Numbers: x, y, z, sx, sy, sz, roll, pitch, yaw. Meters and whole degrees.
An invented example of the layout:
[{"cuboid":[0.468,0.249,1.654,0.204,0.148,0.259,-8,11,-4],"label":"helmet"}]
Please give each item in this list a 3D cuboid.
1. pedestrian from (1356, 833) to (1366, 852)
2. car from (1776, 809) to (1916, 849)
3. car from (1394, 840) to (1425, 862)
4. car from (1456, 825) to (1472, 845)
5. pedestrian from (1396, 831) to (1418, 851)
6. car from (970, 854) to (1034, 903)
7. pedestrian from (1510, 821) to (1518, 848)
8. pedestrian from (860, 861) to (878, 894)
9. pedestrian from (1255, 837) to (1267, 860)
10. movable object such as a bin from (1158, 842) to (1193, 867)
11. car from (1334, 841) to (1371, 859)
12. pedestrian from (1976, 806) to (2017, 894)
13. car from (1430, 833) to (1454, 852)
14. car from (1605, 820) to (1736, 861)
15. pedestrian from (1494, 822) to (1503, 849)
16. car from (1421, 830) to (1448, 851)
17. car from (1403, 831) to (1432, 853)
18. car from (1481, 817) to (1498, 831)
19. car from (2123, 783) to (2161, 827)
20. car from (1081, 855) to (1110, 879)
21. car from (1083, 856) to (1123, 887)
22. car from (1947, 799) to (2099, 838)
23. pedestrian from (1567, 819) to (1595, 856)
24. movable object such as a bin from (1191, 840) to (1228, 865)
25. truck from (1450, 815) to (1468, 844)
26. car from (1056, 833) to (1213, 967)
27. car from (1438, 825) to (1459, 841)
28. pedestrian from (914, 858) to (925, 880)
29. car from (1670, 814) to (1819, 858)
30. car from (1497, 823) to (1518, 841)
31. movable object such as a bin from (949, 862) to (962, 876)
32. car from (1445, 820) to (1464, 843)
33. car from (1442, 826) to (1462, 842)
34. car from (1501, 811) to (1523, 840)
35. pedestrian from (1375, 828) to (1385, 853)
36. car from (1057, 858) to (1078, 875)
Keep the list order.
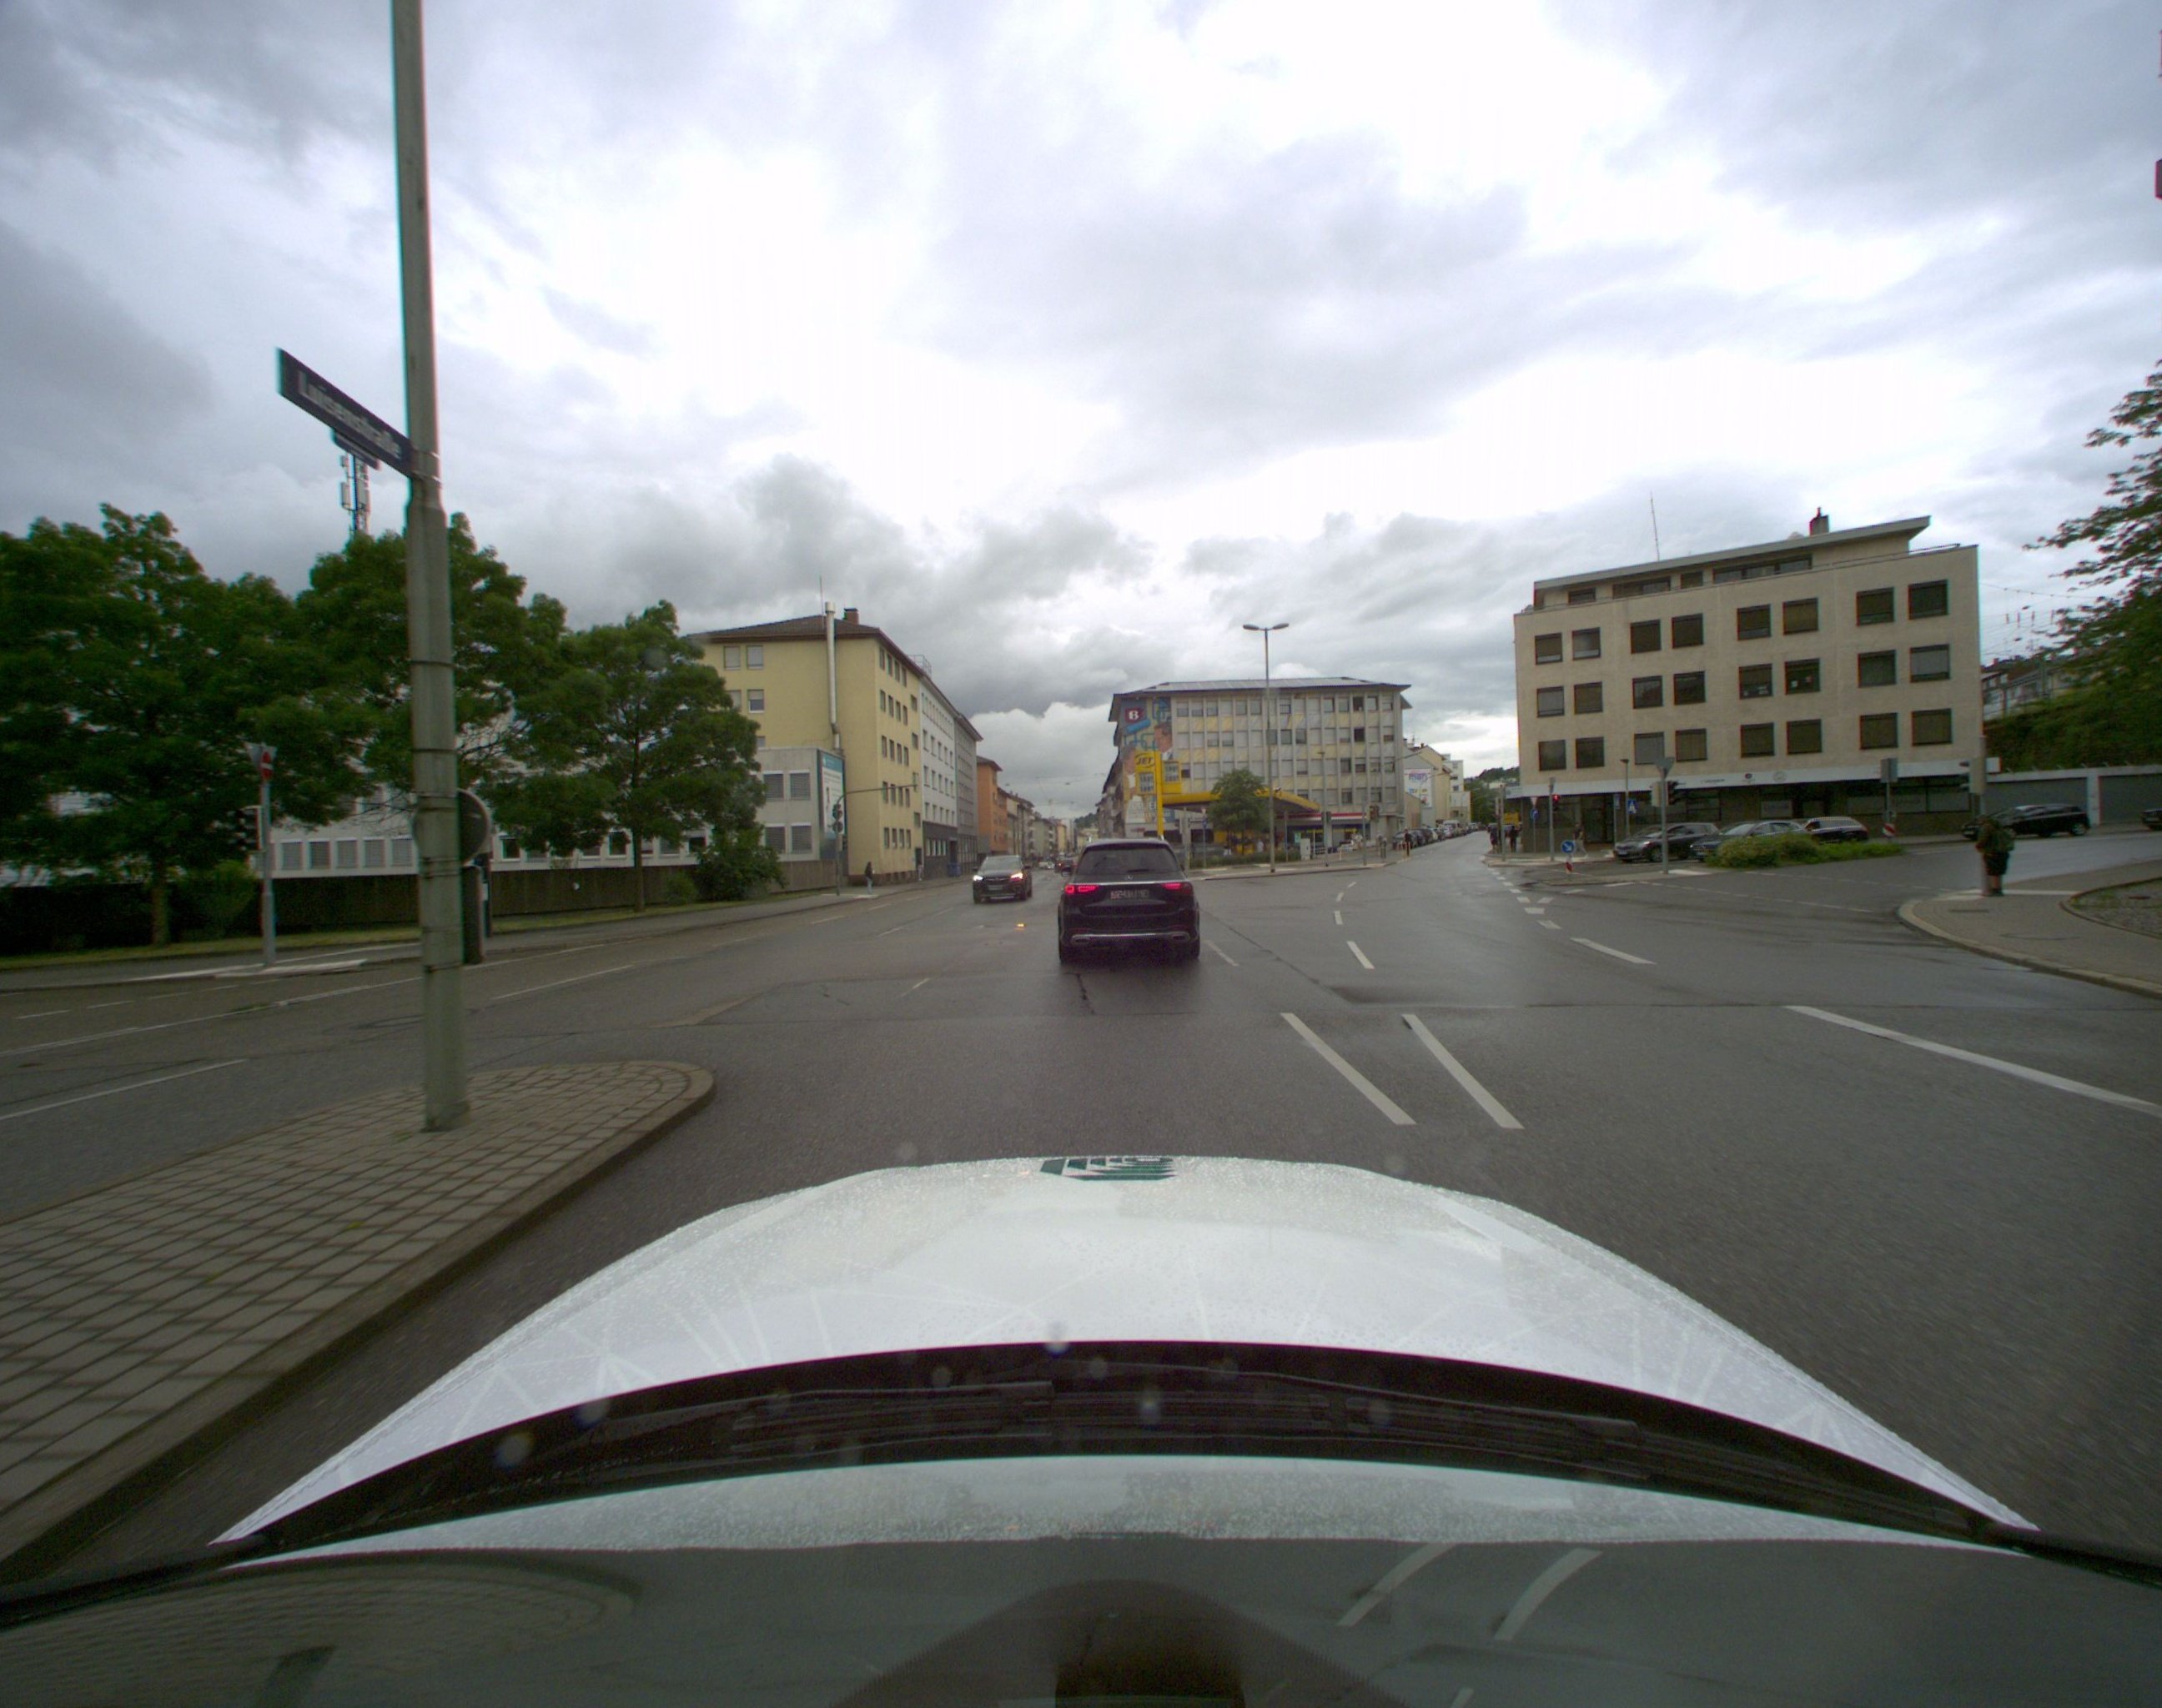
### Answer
[{"cuboid":[22.009,-0.893,64.031,0.578,1.515,0.474,0,-1,-41],"label":"pedestrian"},{"cuboid":[33.876,-1.104,36.138,4.462,1.444,1.997,-4,0,-5],"label":"car"},{"cuboid":[28.103,-0.230,69.589,1.975,1.865,4.608,-1,-1,28],"label":"car"},{"cuboid":[59.592,-2.916,126.599,1.975,3.017,4.608,-1,-1,28],"label":"car"},{"cuboid":[22.400,-0.878,56.012,0.922,1.353,1.100,0,-1,-41],"label":"pedestrian"},{"cuboid":[-2.771,0.838,29.484,1.802,1.594,4.295,-2,0,1],"label":"car"},{"cuboid":[28.112,-1.267,52.873,0.473,1.742,0.578,-1,-1,30],"label":"pedestrian"},{"cuboid":[-11.090,1.224,42.548,0.714,1.689,0.811,0,-1,1],"label":"pedestrian"},{"cuboid":[12.765,-0.380,57.875,0.662,1.585,0.847,0,-1,2],"label":"pedestrian"},{"cuboid":[6.393,0.042,55.408,2.148,1.574,1.773,-3,-1,0],"label":"movable object such as a bin"},{"cuboid":[26.189,-0.361,78.418,1.974,1.516,4.446,-4,-3,36],"label":"car"},{"cuboid":[20.368,-0.092,18.118,0.548,1.890,0.501,-5,1,-41],"label":"pedestrian"},{"cuboid":[38.001,-1.197,85.655,1.975,1.865,4.608,-1,-1,28],"label":"car"},{"cuboid":[25.339,-0.554,35.085,4.470,1.444,1.994,-4,0,-10],"label":"car"},{"cuboid":[27.303,-1.211,53.257,0.473,1.742,0.578,-1,-1,30],"label":"pedestrian"},{"cuboid":[34.592,-1.283,79.575,1.975,1.865,4.608,-1,-1,28],"label":"car"},{"cuboid":[30.804,-1.053,74.452,1.975,1.865,4.608,-1,-1,28],"label":"car"},{"cuboid":[64.139,-4.620,127.849,1.974,2.014,4.025,-1,-1,31],"label":"car"},{"cuboid":[47.461,-2.105,34.241,4.119,1.783,2.008,-1,-1,15],"label":"car"},{"cuboid":[1.044,0.922,59.996,2.070,1.650,4.294,0,0,0],"label":"car"},{"cuboid":[1.169,0.922,45.059,2.070,1.650,4.294,0,0,0],"label":"car"},{"cuboid":[41.643,-1.544,36.115,3.957,1.585,2.008,-1,-1,15],"label":"car"},{"cuboid":[24.746,-0.805,40.300,0.854,1.791,0.773,0,-1,-5],"label":"pedestrian"},{"cuboid":[8.748,-0.092,55.427,2.148,1.555,1.773,-4,-1,0],"label":"movable object such as a bin"},{"cuboid":[54.251,-3.479,116.779,1.975,3.914,5.518,-1,-1,28],"label":"truck"},{"cuboid":[0.703,0.616,13.090,2.070,1.765,4.609,0,0,0],"label":"car"},{"cuboid":[44.638,-2.538,98.928,1.975,1.865,4.608,-1,-1,28],"label":"car"},{"cuboid":[-12.667,1.165,63.835,0.714,1.689,0.811,0,-1,1],"label":"pedestrian"},{"cuboid":[26.604,-0.695,32.756,4.462,1.444,1.997,-4,0,-4],"label":"car"},{"cuboid":[50.437,-2.586,96.229,1.974,2.014,4.025,-1,-1,31],"label":"car"},{"cuboid":[-12.094,1.486,78.579,1.073,1.324,1.190,0,-1,0],"label":"movable object such as a bin"},{"cuboid":[50.533,-3.035,110.197,1.975,2.973,4.608,-1,-1,28],"label":"car"},{"cuboid":[47.076,-2.510,103.387,1.975,1.865,4.608,-1,-1,28],"label":"car"},{"cuboid":[57.394,-3.721,108.395,2.354,3.688,5.025,-1,-1,29],"label":"car"},{"cuboid":[21.888,-0.973,59.657,0.671,1.758,0.736,-1,-1,23],"label":"pedestrian"},{"cuboid":[-1.324,1.252,83.648,2.070,1.650,4.294,0,0,0],"label":"car"}]
